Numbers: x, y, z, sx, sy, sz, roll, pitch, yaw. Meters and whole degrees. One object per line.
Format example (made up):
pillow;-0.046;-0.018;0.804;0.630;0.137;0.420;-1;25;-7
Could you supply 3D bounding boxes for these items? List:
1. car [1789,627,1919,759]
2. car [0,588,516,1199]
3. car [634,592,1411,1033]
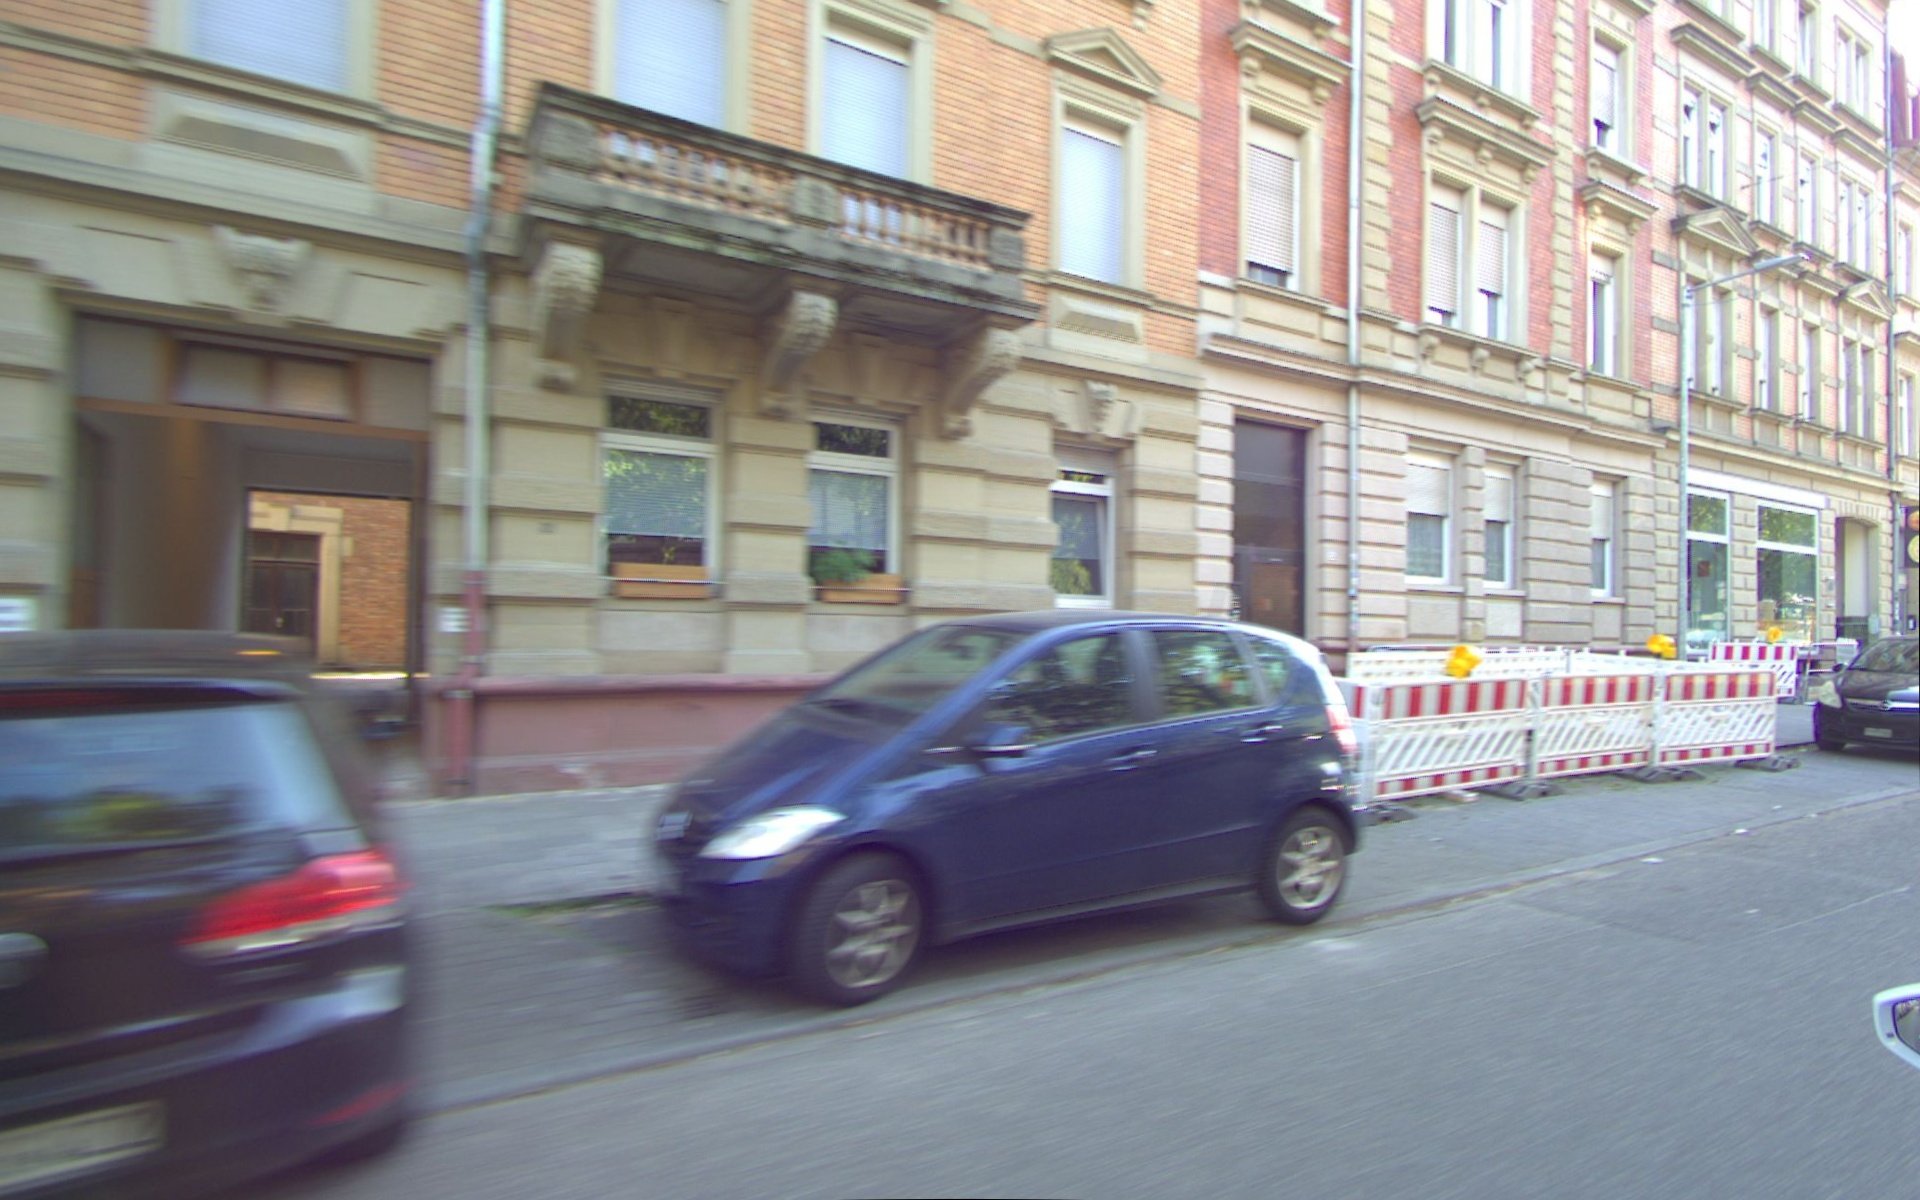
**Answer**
car;12.255;1.084;12.605;3.975;1.473;1.694;1;-2;-32
car;-2.947;0.805;3.492;1.808;1.550;3.960;1;-2;-36
car;0.418;0.812;5.361;3.849;1.588;1.733;1;-2;-30
